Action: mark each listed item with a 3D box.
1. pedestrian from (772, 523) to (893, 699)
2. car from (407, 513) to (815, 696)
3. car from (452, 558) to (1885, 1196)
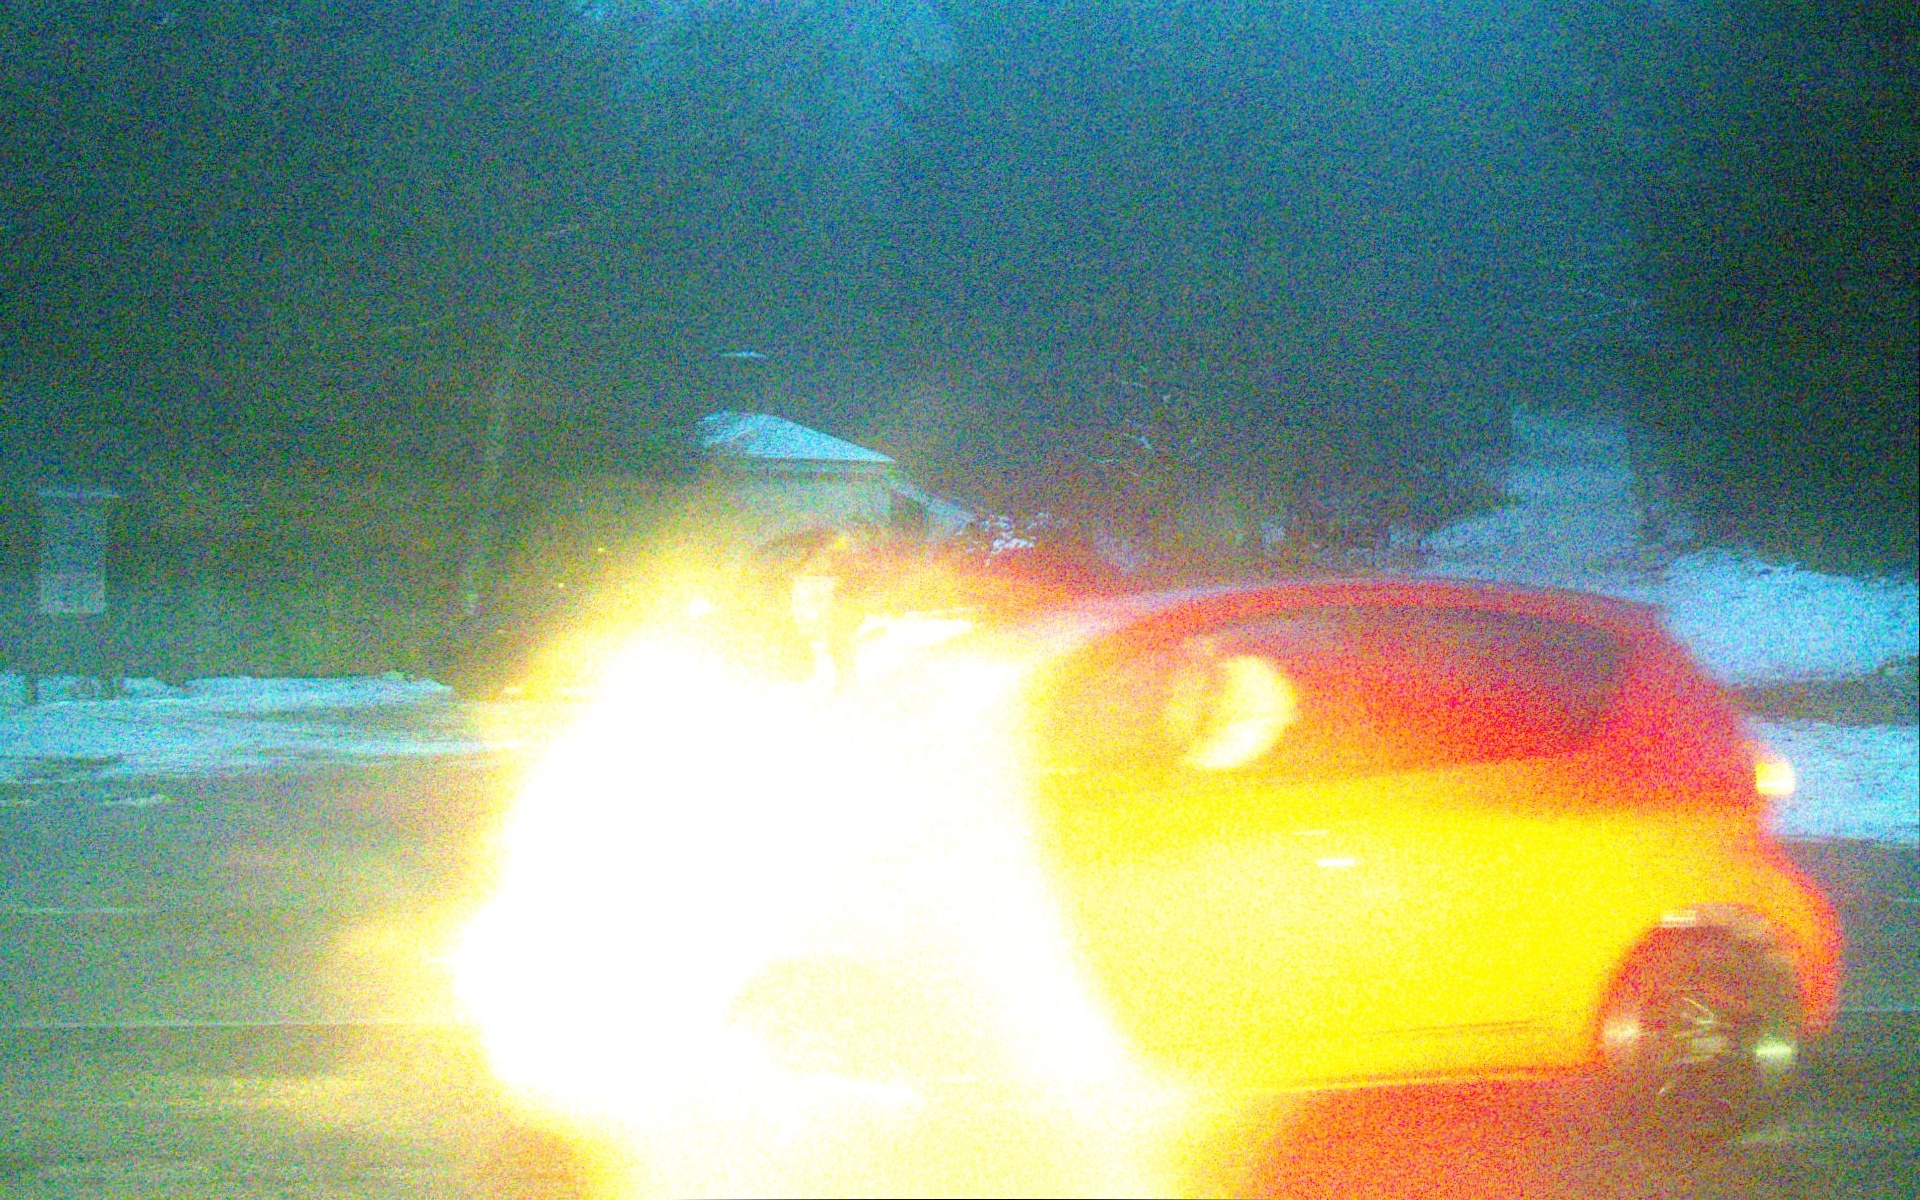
[{"bbox_3d":[-1.348,0.121,36.421,0.961,1.822,0.924,1,-1,21],"label":"pedestrian"},{"bbox_3d":[-3.796,0.046,37.679,3.950,1.875,1.998,1,0,16],"label":"car"},{"bbox_3d":[0.482,0.634,9.009,3.401,1.447,1.577,1,0,-16],"label":"car"}]
